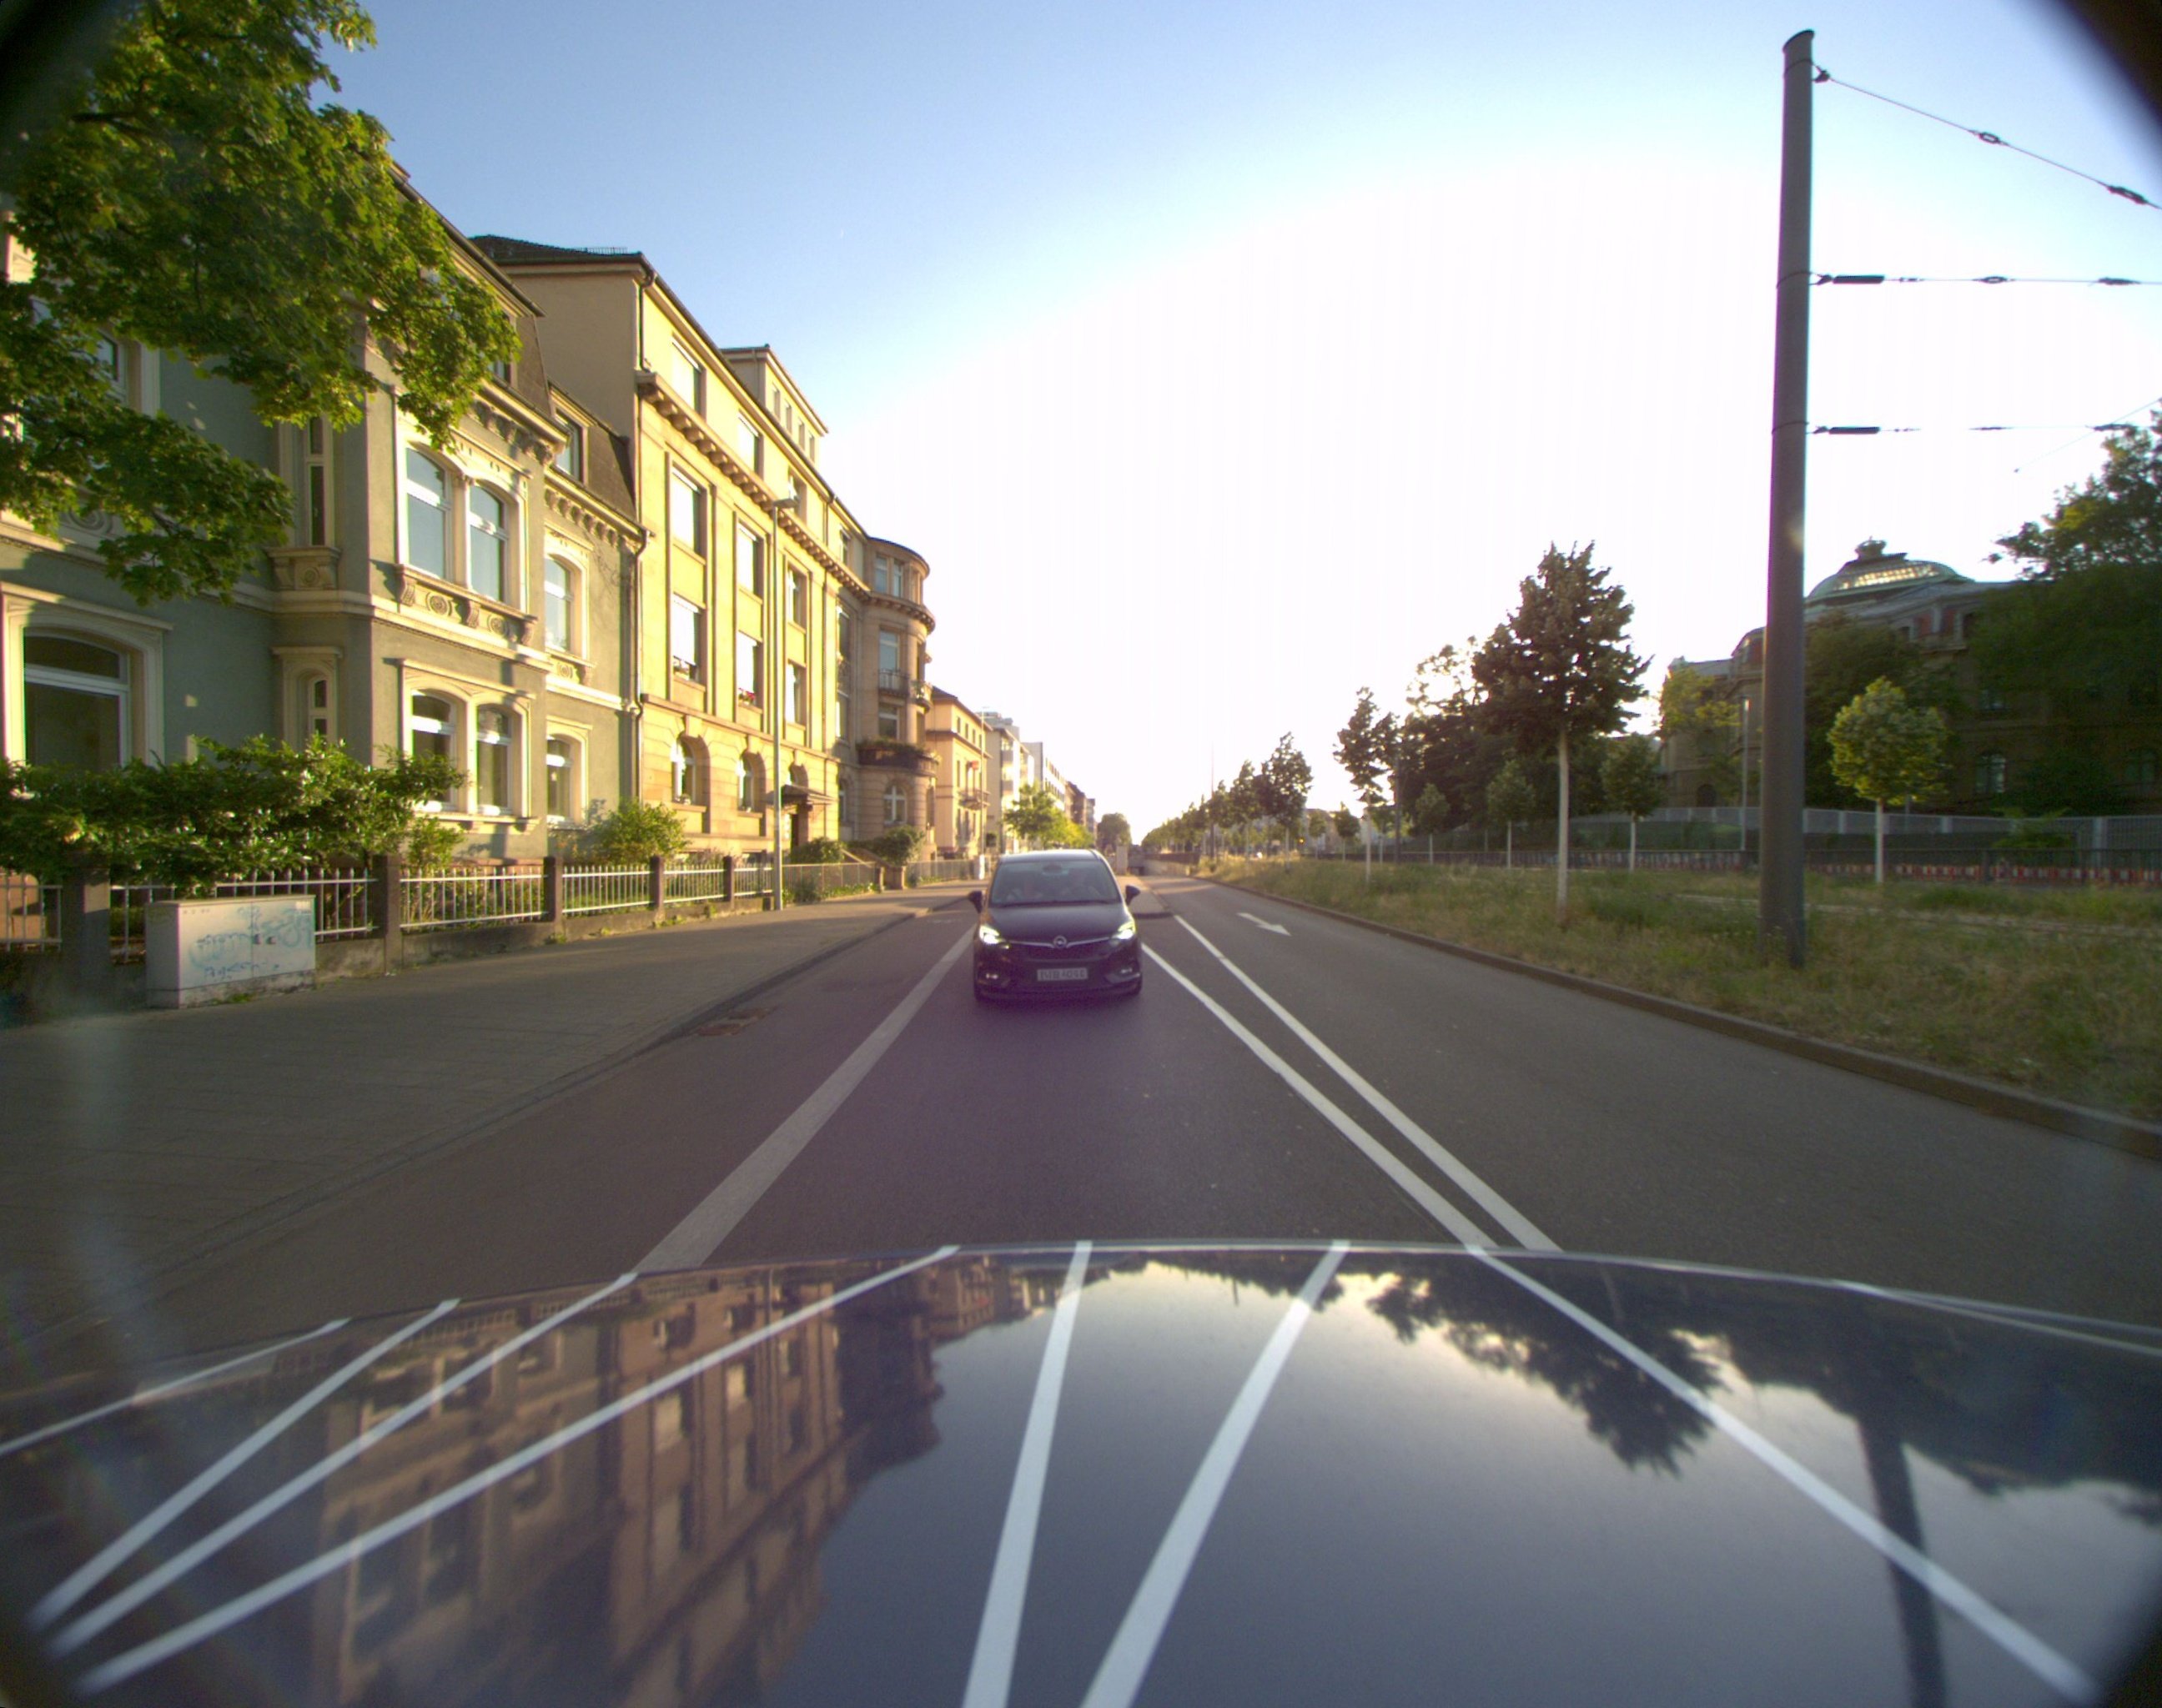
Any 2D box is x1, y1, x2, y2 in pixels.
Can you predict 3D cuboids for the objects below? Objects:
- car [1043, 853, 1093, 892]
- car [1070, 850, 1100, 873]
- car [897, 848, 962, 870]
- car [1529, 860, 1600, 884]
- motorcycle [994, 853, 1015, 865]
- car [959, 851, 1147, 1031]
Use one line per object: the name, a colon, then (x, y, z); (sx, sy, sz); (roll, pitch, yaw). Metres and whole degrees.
car: (-0.494, 0.748, 31.094); (1.859, 1.425, 4.843); (-2, -1, 0)
car: (0.303, 0.514, 50.330); (1.859, 1.425, 4.843); (-2, -1, 1)
car: (-10.686, 0.354, 53.675); (4.096, 1.472, 1.939); (-1, 0, 3)
car: (32.297, 1.180, 50.934); (1.936, 1.472, 4.523); (-2, -1, 2)
motorcycle: (-7.040, 0.496, 69.983); (1.848, 1.090, 0.576); (-1, 1, 8)
car: (-0.377, 0.818, 9.653); (1.771, 1.649, 4.850); (-1, 1, -3)
